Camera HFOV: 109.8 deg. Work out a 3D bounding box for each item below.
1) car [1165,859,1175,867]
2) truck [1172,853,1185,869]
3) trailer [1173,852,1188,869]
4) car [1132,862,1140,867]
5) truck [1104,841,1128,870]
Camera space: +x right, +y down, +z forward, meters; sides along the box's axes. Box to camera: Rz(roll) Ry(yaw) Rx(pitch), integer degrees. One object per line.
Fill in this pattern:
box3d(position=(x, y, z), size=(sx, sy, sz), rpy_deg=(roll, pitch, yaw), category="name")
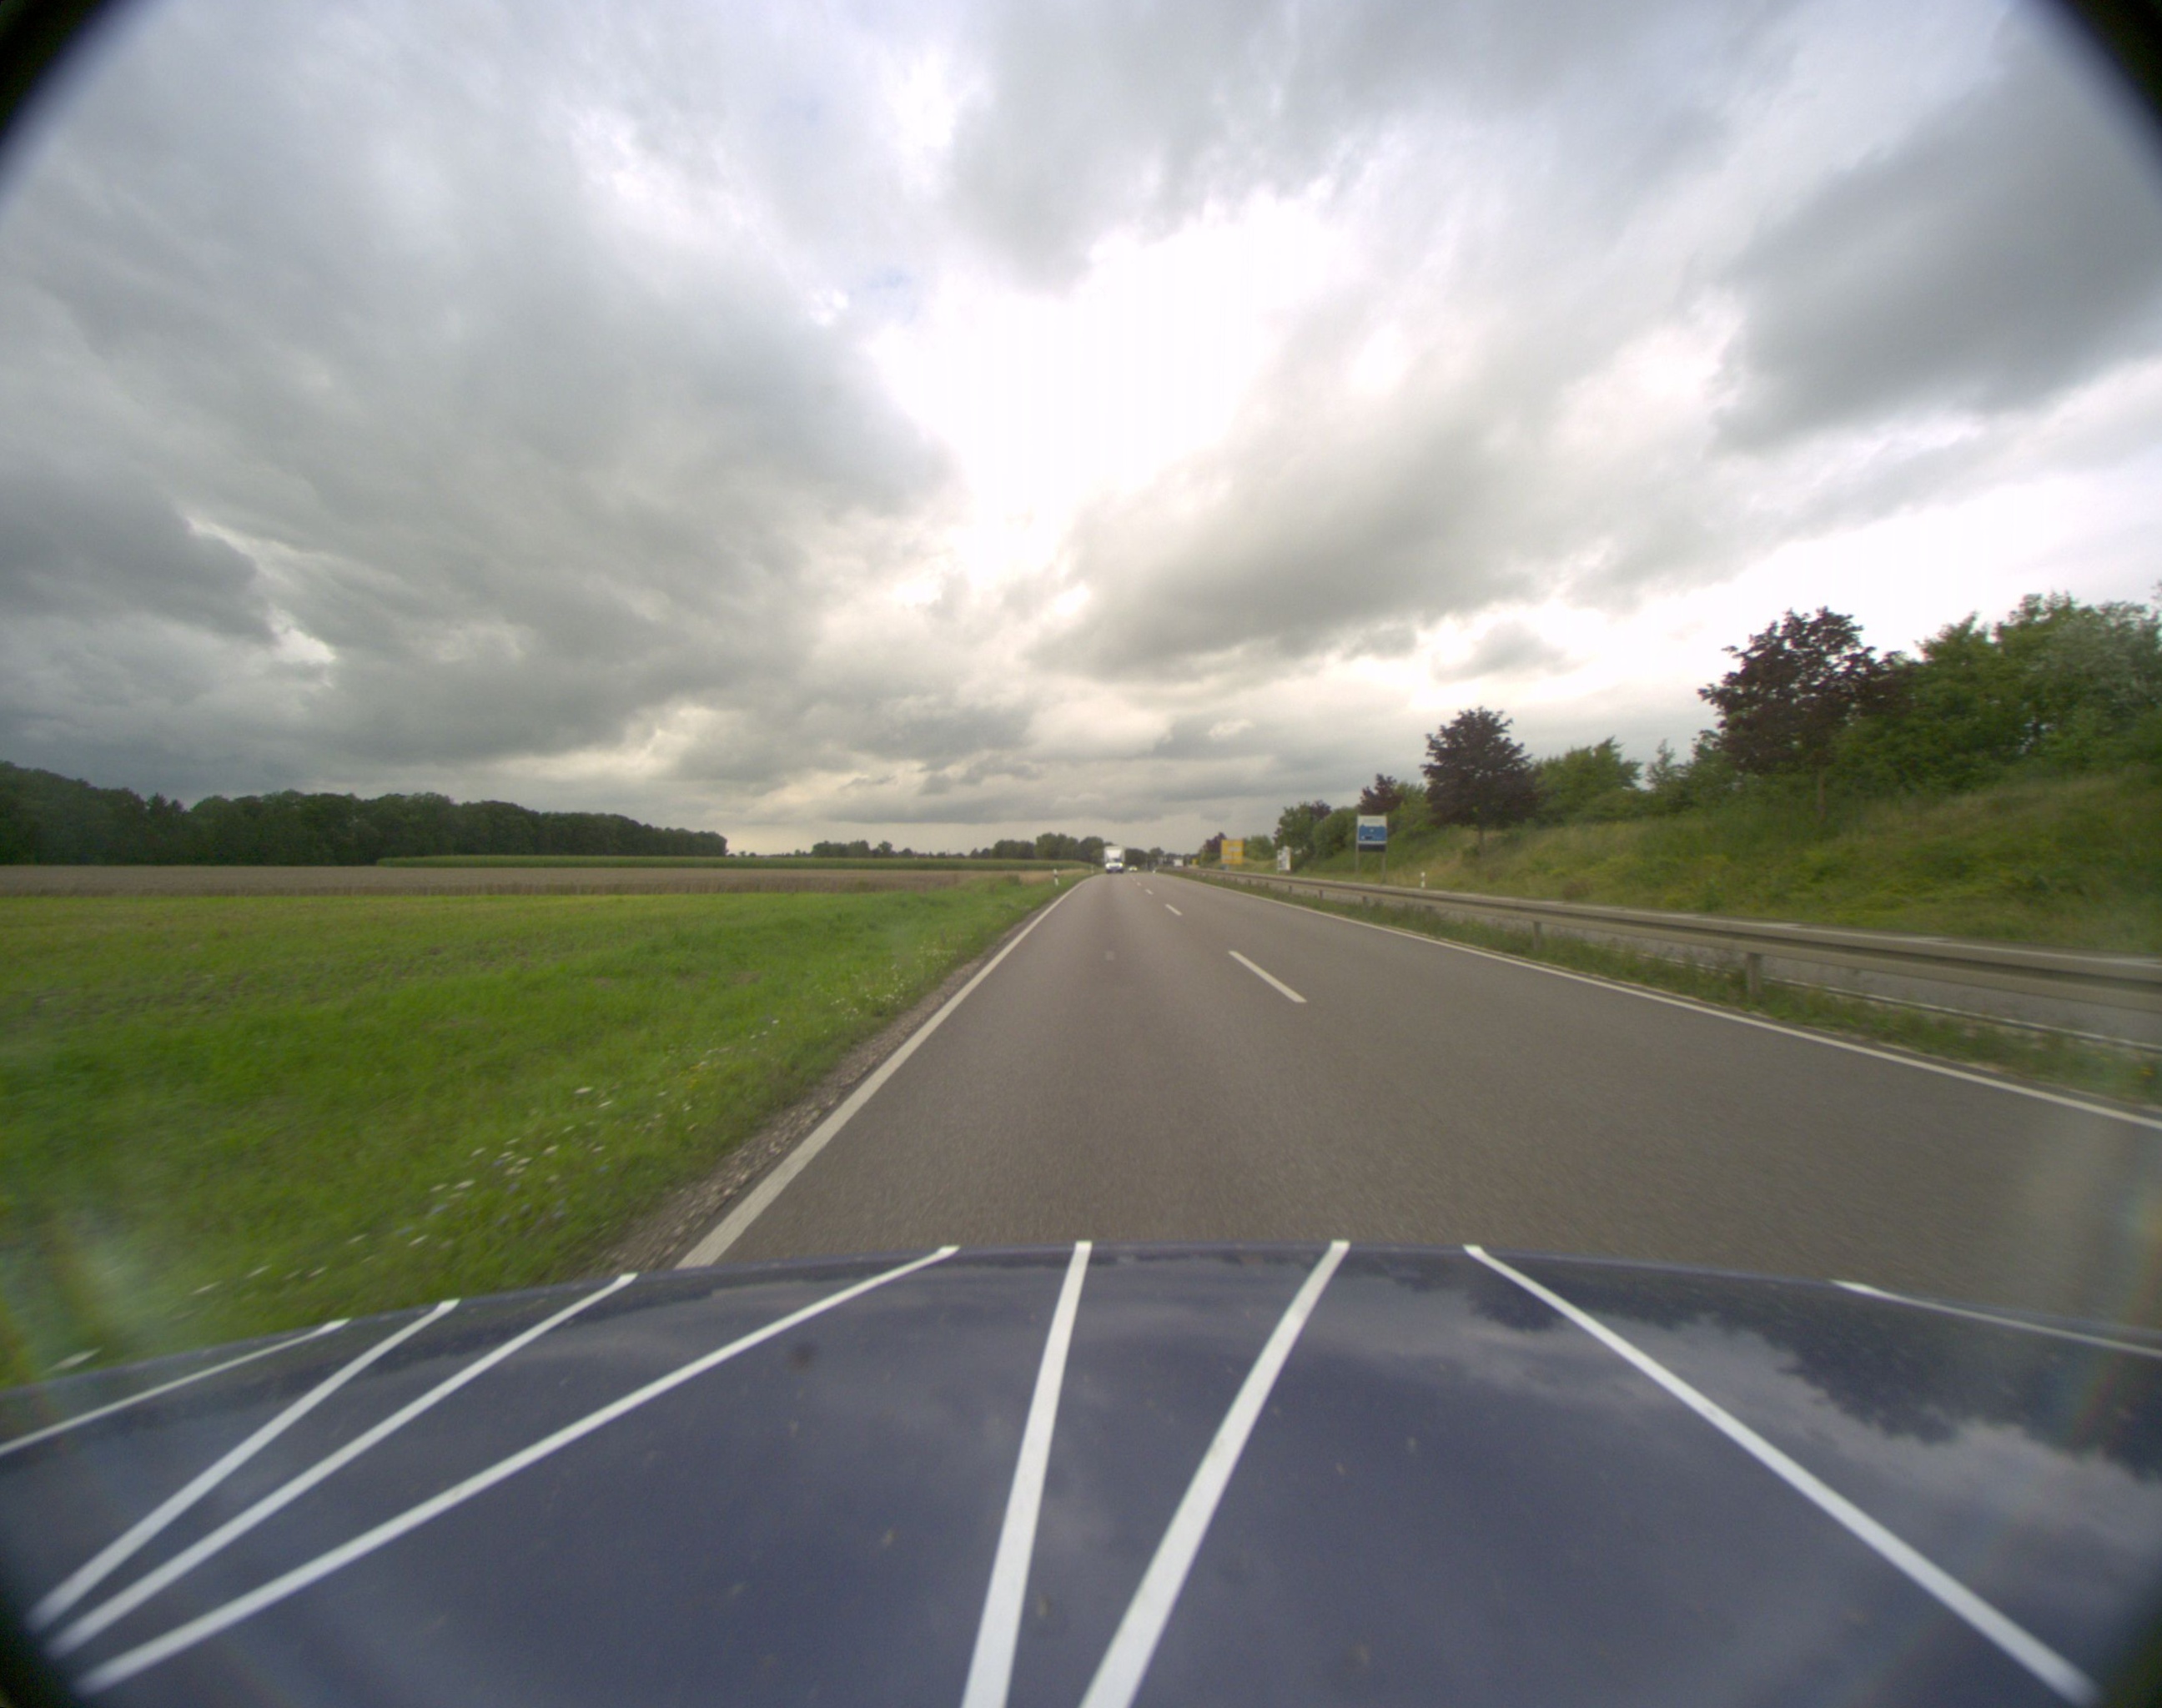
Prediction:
box3d(position=(17.786, 1.801, 152.449), size=(1.758, 1.477, 4.579), rpy_deg=(0, -1, 4), category="car")
box3d(position=(24.697, 1.902, 192.747), size=(2.809, 3.973, 5.289), rpy_deg=(0, -1, 4), category="truck")
box3d(position=(24.165, 1.741, 185.299), size=(2.781, 3.923, 12.992), rpy_deg=(0, -1, 4), category="trailer")
box3d(position=(14.481, 2.784, 200.237), size=(2.090, 1.510, 4.195), rpy_deg=(0, -1, 5), category="car")
box3d(position=(4.742, 0.274, 101.544), size=(2.933, 3.651, 8.447), rpy_deg=(0, -1, 5), category="truck")
